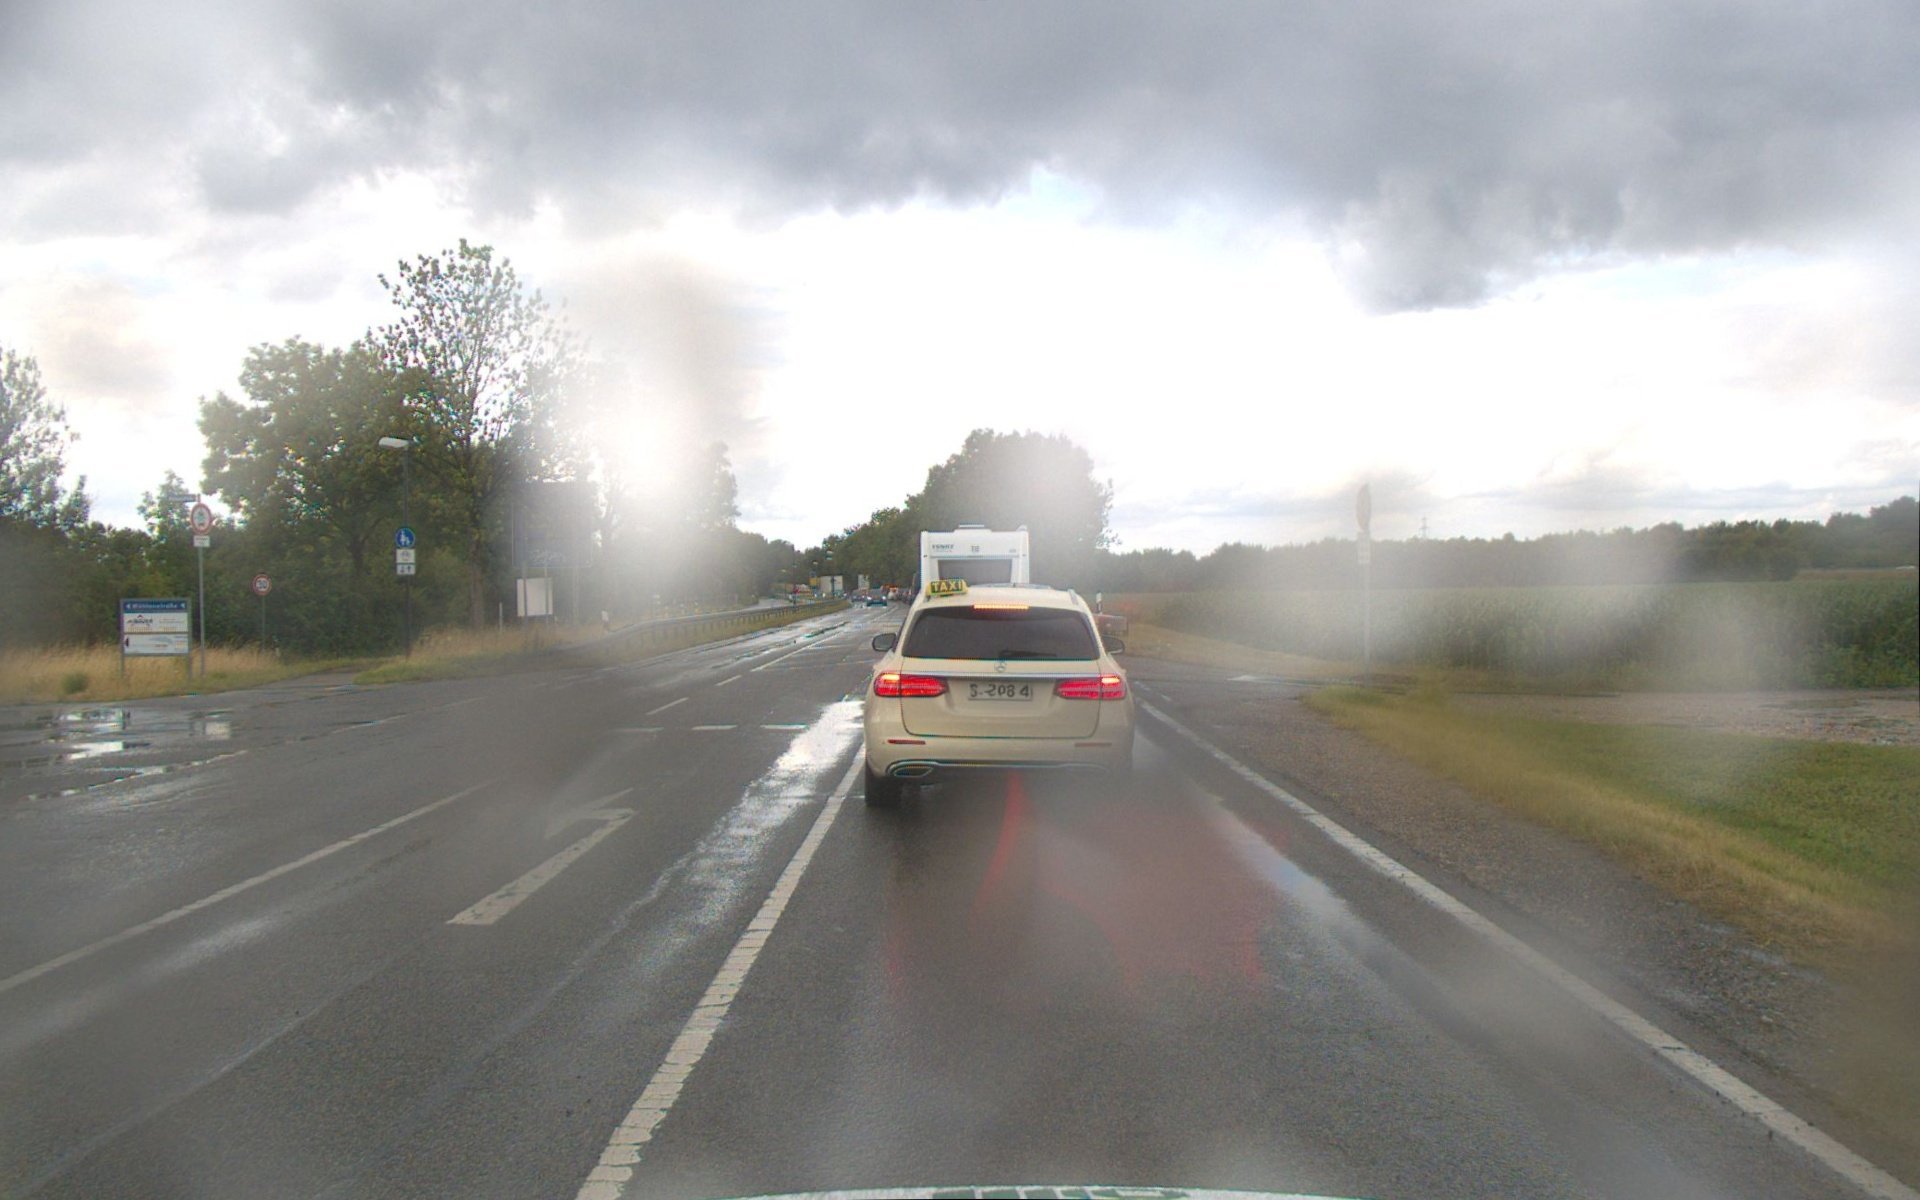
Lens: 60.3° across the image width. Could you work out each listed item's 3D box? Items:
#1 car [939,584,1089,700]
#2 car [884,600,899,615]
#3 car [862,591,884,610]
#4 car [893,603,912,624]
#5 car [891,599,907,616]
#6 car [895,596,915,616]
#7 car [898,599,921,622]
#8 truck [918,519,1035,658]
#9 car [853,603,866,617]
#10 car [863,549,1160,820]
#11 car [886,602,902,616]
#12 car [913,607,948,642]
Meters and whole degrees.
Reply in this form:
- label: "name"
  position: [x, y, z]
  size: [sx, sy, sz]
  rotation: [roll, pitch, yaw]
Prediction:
- label: "car"
  position: [0.692, 0.568, 23.859]
  size: [1.953, 1.488, 3.999]
  rotation: [1, 0, -1]
- label: "car"
  position: [-8.776, 0.930, 211.798]
  size: [1.858, 1.928, 3.840]
  rotation: [-1, 0, -4]
- label: "car"
  position: [-7.816, 0.040, 149.307]
  size: [1.791, 1.601, 3.999]
  rotation: [1, 0, 0]
- label: "car"
  position: [-5.675, 1.323, 164.479]
  size: [1.814, 2.049, 3.810]
  rotation: [-1, 0, -1]
- label: "car"
  position: [-6.975, 0.882, 190.506]
  size: [1.705, 1.892, 3.784]
  rotation: [-1, 0, -1]
- label: "car"
  position: [-5.124, 0.576, 154.228]
  size: [1.841, 1.792, 3.833]
  rotation: [-1, 0, -1]
- label: "car"
  position: [-4.127, 0.857, 135.982]
  size: [1.755, 1.808, 3.720]
  rotation: [-1, 0, -1]
- label: "truck"
  position: [0.283, -0.231, 37.062]
  size: [2.315, 2.776, 7.313]
  rotation: [-1, 0, -1]
- label: "car"
  position: [-12.418, 1.228, 204.558]
  size: [1.548, 1.668, 3.441]
  rotation: [-1, 0, -1]
- label: "car"
  position: [0.288, 0.527, 12.104]
  size: [1.805, 1.646, 3.999]
  rotation: [0, 0, -1]
- label: "car"
  position: [-8.092, 1.090, 203.758]
  size: [1.715, 1.691, 3.668]
  rotation: [-1, 0, -6]
- label: "car"
  position: [-1.660, 1.321, 91.575]
  size: [1.877, 1.873, 3.794]
  rotation: [-1, 0, -2]
